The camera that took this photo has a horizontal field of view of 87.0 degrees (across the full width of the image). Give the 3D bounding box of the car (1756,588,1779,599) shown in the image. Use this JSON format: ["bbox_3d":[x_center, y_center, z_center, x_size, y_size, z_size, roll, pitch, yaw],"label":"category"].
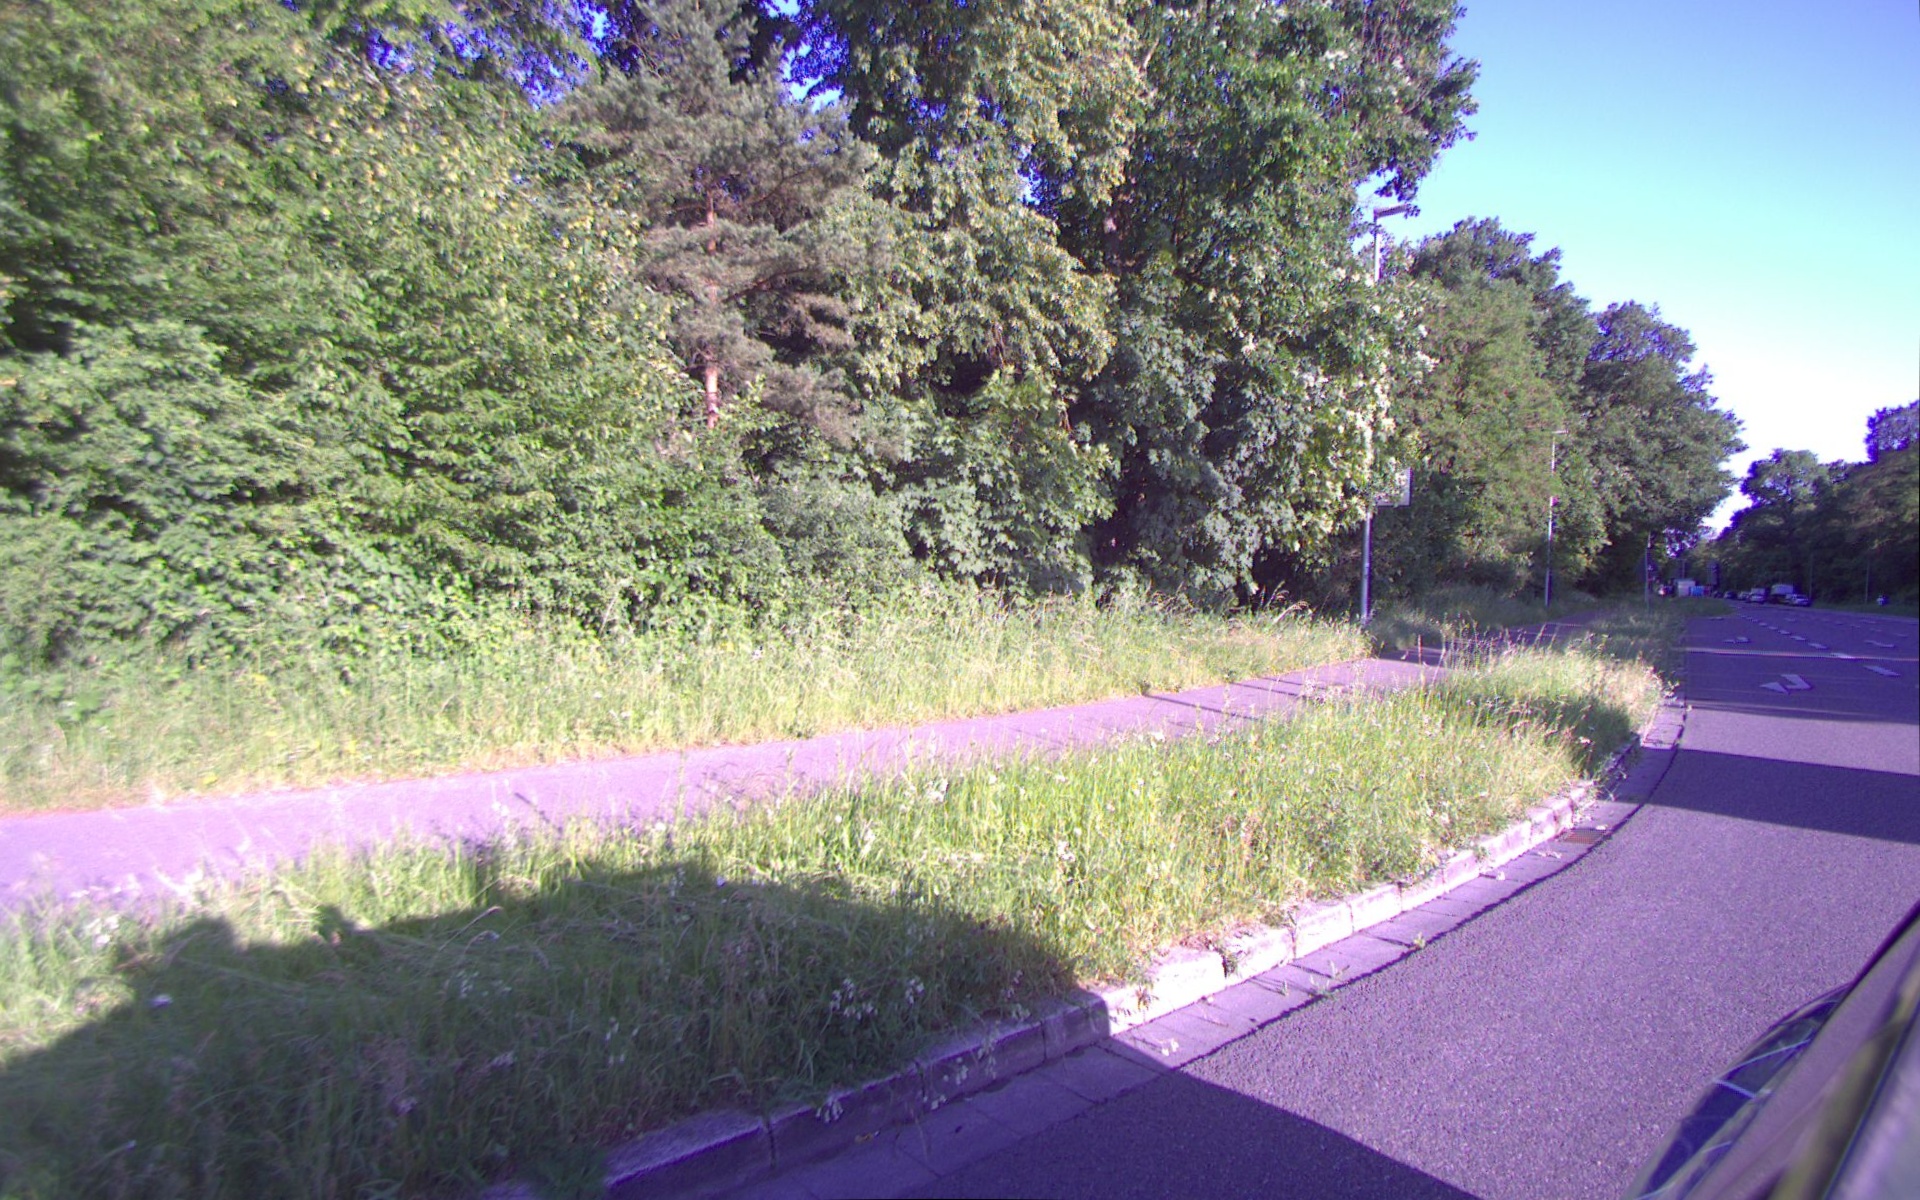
[{"bbox_3d":[107.099,-0.875,134.221,1.820,1.473,4.431,3,2,31],"label":"car"}]

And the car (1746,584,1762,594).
[{"bbox_3d":[139.179,-1.935,177.421,1.795,1.523,3.868,4,3,32],"label":"car"}]

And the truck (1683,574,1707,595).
[{"bbox_3d":[104.195,-2.229,143.499,2.373,2.908,5.534,-1,1,33],"label":"truck"}]

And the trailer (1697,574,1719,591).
[{"bbox_3d":[94.910,-2.221,128.424,1.857,2.205,4.082,1,1,33],"label":"trailer"}]

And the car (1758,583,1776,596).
[{"bbox_3d":[132.972,-1.758,166.759,1.681,2.127,4.579,4,3,32],"label":"car"}]

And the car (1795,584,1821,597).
[{"bbox_3d":[105.853,-1.197,126.423,1.902,1.481,3.966,4,3,32],"label":"car"}]

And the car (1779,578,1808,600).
[{"bbox_3d":[115.503,-1.568,140.312,2.445,2.881,4.744,4,3,32],"label":"car"}]

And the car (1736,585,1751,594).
[{"bbox_3d":[147.617,-1.913,190.790,1.795,1.523,3.868,4,3,32],"label":"car"}]

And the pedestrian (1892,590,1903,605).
[{"bbox_3d":[99.364,-0.295,107.254,0.709,1.584,0.815,3,2,36],"label":"pedestrian"}]

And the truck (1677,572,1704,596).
[{"bbox_3d":[109.544,-2.444,151.772,2.689,3.276,7.047,4,3,32],"label":"truck"}]

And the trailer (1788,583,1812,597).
[{"bbox_3d":[108.246,-1.303,130.415,1.795,1.750,3.606,4,3,32],"label":"trailer"}]
